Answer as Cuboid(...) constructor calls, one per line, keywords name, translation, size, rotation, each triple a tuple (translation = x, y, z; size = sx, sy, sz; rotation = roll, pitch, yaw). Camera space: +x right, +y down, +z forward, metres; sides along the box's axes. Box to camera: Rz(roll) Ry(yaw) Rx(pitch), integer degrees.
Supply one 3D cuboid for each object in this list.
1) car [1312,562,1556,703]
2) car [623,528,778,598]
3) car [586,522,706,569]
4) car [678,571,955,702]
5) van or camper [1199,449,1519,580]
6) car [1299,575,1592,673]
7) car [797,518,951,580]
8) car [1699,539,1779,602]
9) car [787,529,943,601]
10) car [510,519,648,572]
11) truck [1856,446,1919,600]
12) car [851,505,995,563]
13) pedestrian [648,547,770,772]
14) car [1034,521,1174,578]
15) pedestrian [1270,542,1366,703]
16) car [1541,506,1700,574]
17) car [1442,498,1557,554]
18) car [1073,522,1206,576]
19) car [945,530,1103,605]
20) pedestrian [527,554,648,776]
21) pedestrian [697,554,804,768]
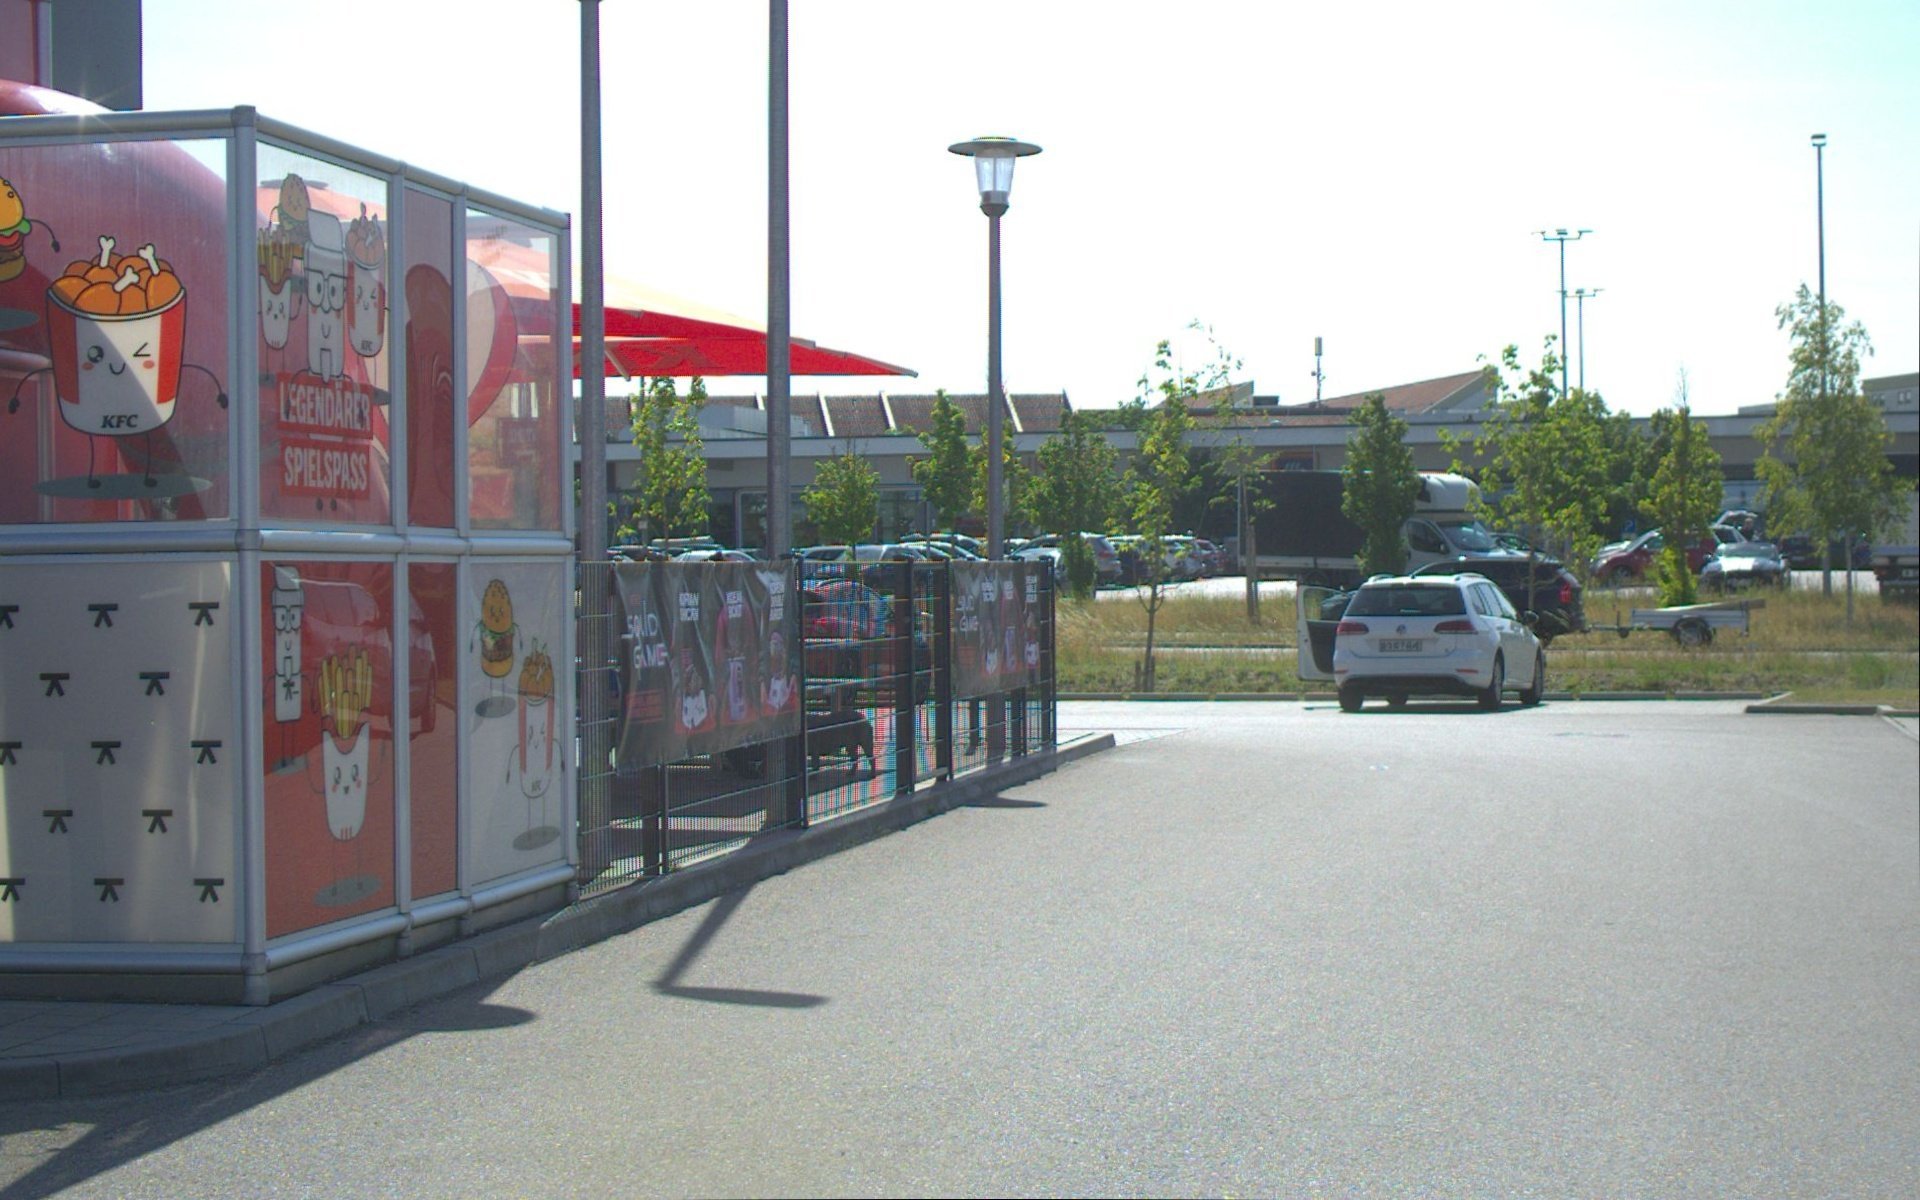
Cuboid(name="car", translation=(5.322, 0.356, 38.132), size=(1.829, 1.464, 4.477), rotation=(0, 0, 19))
Cuboid(name="car", translation=(-7.044, -1.015, 93.704), size=(1.997, 1.849, 4.278), rotation=(1, 1, 34))
Cuboid(name="car", translation=(-12.438, -2.161, 136.263), size=(4.392, 1.849, 1.955), rotation=(0, 1, 11))
Cuboid(name="car", translation=(-1.627, 0.419, 40.723), size=(1.829, 1.464, 4.349), rotation=(0, 0, 19))
Cuboid(name="van or camper", translation=(9.778, -2.089, 85.009), size=(8.050, 3.091, 2.413), rotation=(1, 1, 44))
Cuboid(name="car", translation=(9.092, 0.427, 64.270), size=(5.210, 1.725, 1.988), rotation=(1, 1, 15))
Cuboid(name="car", translation=(-2.633, -1.569, 105.598), size=(4.392, 1.849, 1.955), rotation=(0, 1, 11))
Cuboid(name="car", translation=(18.610, -0.722, 82.034), size=(1.651, 1.454, 3.964), rotation=(1, 1, 15))
Cuboid(name="car", translation=(-2.494, -0.935, 91.226), size=(1.953, 1.849, 4.396), rotation=(1, 1, 34))
Cuboid(name="car", translation=(-13.683, -1.954, 123.569), size=(4.560, 1.849, 1.955), rotation=(0, 1, 11))
Cuboid(name="truck", translation=(22.520, -1.777, 80.543), size=(2.761, 3.469, 6.827), rotation=(1, 1, 16))
Cuboid(name="car", translation=(-1.194, -2.159, 112.341), size=(4.392, 1.849, 1.955), rotation=(0, 1, 11))
Cuboid(name="pedestrian", translation=(-1.459, 0.333, 19.881), size=(0.683, 1.269, 0.842), rotation=(0, 1, -6))
Cuboid(name="car", translation=(4.788, -1.688, 113.906), size=(4.392, 1.849, 1.955), rotation=(0, 1, 11))
Cuboid(name="pedestrian", translation=(4.064, 0.251, 39.003), size=(0.992, 1.803, 0.725), rotation=(0, 0, 14))
Cuboid(name="car", translation=(18.293, -1.671, 95.301), size=(4.255, 1.849, 1.869), rotation=(0, 1, 11))
Cuboid(name="car", translation=(19.667, -2.708, 125.350), size=(3.989, 2.007, 1.999), rotation=(1, 1, 14))
Cuboid(name="car", translation=(6.258, -1.778, 119.697), size=(4.392, 1.849, 1.955), rotation=(0, 1, 11))
Cuboid(name="car", translation=(1.660, -0.845, 87.796), size=(1.953, 1.849, 4.396), rotation=(1, 1, 34))
Cuboid(name="pedestrian", translation=(-2.155, 0.369, 19.931), size=(0.683, 1.269, 0.551), rotation=(0, 1, -6))
Cuboid(name="pedestrian", translation=(-1.267, 0.360, 20.722), size=(0.611, 1.269, 0.624), rotation=(0, 1, -6))
